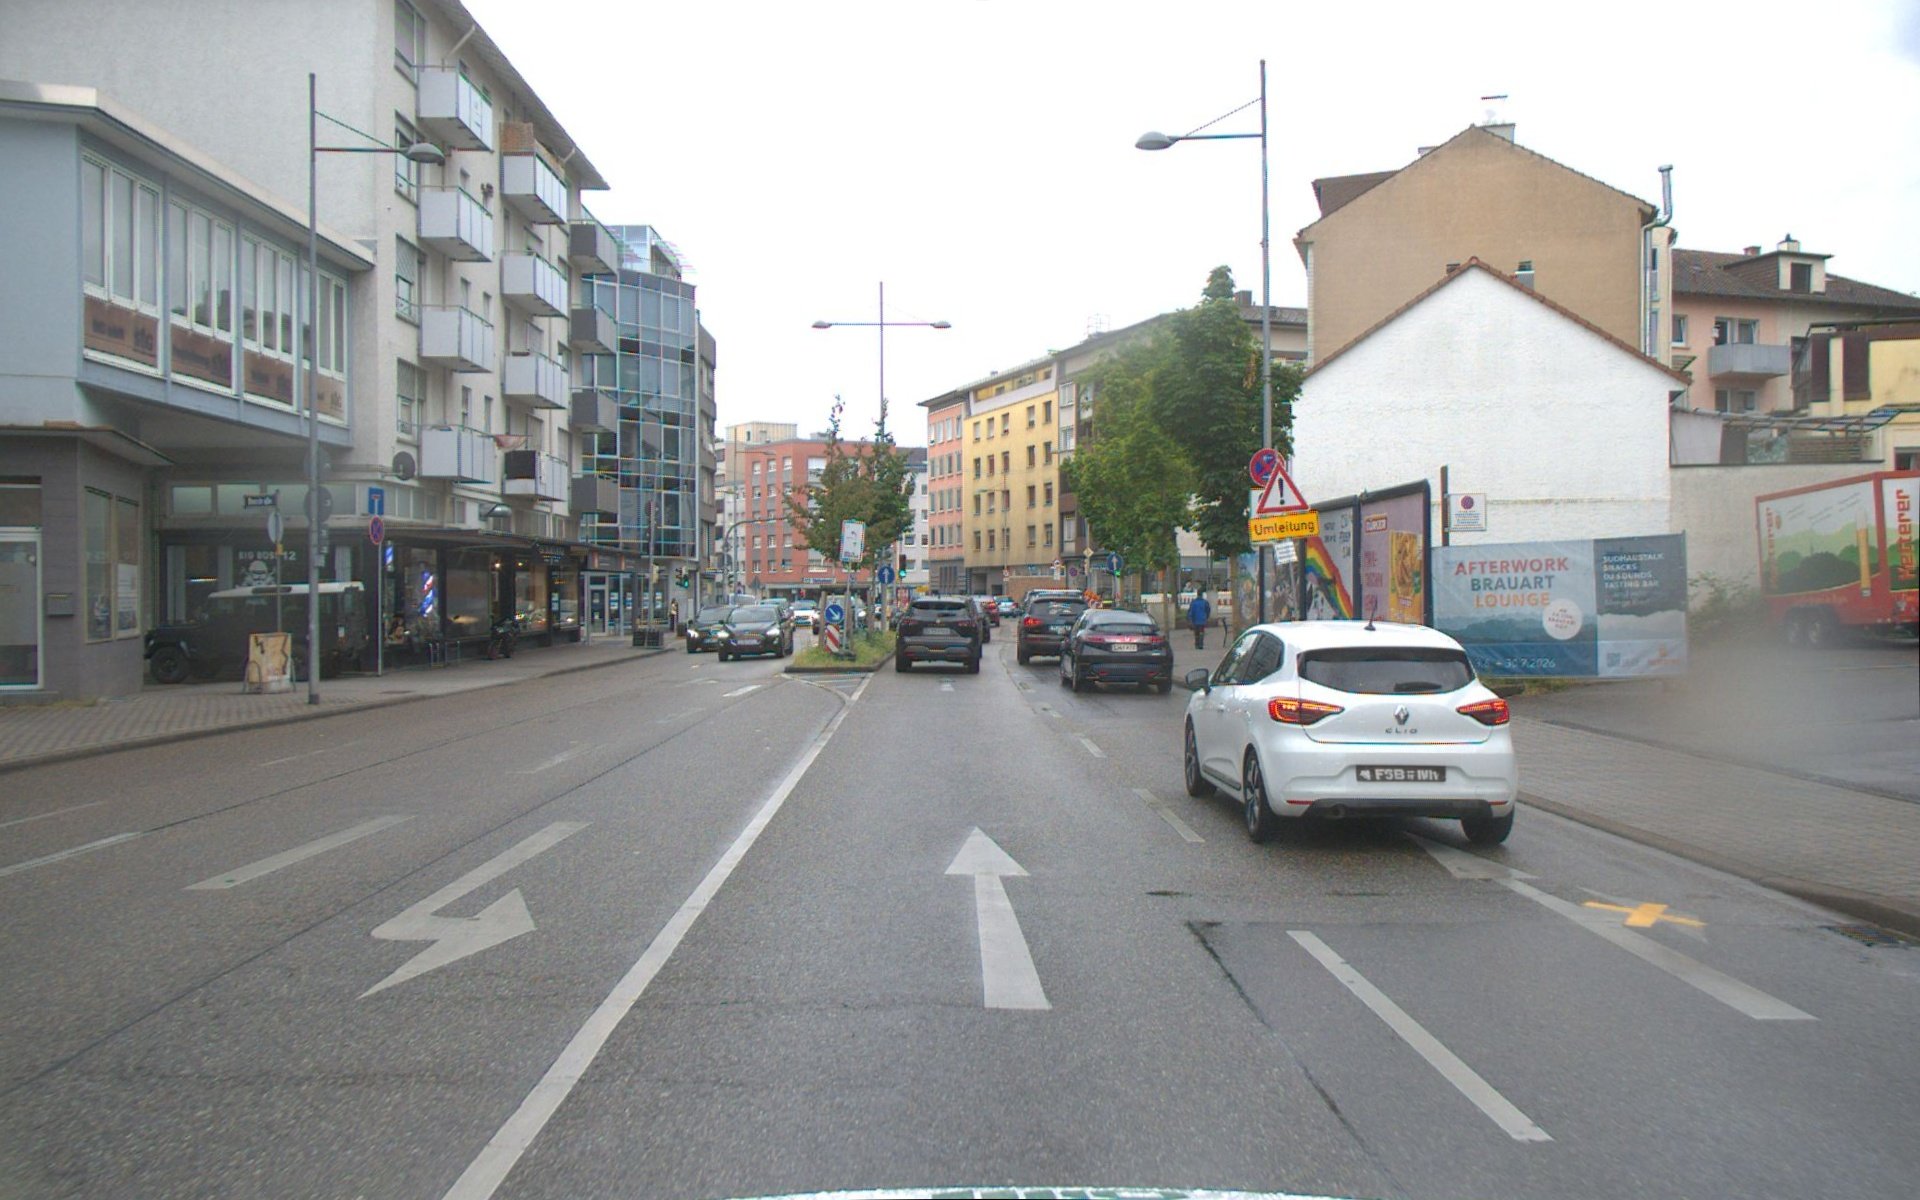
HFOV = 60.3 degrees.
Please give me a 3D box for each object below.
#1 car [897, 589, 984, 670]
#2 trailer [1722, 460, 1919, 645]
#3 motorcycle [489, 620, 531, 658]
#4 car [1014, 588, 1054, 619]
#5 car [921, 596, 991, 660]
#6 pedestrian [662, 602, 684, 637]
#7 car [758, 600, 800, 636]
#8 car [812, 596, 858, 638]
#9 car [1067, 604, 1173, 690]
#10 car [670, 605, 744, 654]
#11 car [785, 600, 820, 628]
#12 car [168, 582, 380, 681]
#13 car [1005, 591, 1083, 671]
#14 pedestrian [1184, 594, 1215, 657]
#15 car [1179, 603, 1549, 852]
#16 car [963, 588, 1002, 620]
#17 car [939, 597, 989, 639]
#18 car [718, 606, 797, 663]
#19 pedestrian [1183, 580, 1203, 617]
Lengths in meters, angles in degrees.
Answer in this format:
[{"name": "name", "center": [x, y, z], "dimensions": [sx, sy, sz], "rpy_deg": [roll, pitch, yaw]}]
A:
[{"name": "car", "center": [-0.404, 0.622, 36.249], "dimensions": [1.786, 1.628, 3.718], "rpy_deg": [2, 0, 0]}, {"name": "trailer", "center": [15.023, -0.770, 27.668], "dimensions": [2.083, 2.763, 5.392], "rpy_deg": [-3, 0, 1]}, {"name": "motorcycle", "center": [-12.407, 1.067, 45.650], "dimensions": [0.515, 1.013, 2.136], "rpy_deg": [2, 0, 1]}, {"name": "car", "center": [4.049, 0.169, 90.928], "dimensions": [1.674, 1.639, 3.724], "rpy_deg": [2, 0, -5]}, {"name": "car", "center": [-0.113, 0.736, 45.033], "dimensions": [1.786, 1.628, 3.718], "rpy_deg": [2, 0, 0]}, {"name": "pedestrian", "center": [-13.659, 0.928, 78.705], "dimensions": [0.775, 1.619, 0.753], "rpy_deg": [-1, 0, -37]}, {"name": "car", "center": [-8.703, 0.851, 79.841], "dimensions": [1.599, 1.619, 3.936], "rpy_deg": [-2, 0, -1]}, {"name": "car", "center": [-5.391, 0.726, 71.990], "dimensions": [1.649, 1.690, 4.096], "rpy_deg": [-2, 0, 0]}, {"name": "car", "center": [2.845, 0.807, 30.036], "dimensions": [1.749, 1.424, 3.720], "rpy_deg": [1, 0, 3]}, {"name": "car", "center": [-8.435, 0.959, 55.436], "dimensions": [1.673, 1.493, 4.828], "rpy_deg": [-3, 0, 0]}, {"name": "car", "center": [-8.631, 0.754, 90.863], "dimensions": [1.599, 1.432, 3.436], "rpy_deg": [-2, 0, -1]}, {"name": "car", "center": [-14.717, 0.668, 35.599], "dimensions": [3.881, 2.070, 1.580], "rpy_deg": [0, 0, 1]}, {"name": "car", "center": [2.047, 0.731, 41.294], "dimensions": [1.792, 1.837, 3.719], "rpy_deg": [2, 1, 1]}, {"name": "pedestrian", "center": [6.893, 0.721, 47.564], "dimensions": [0.774, 1.786, 0.872], "rpy_deg": [-2, 0, 12]}, {"name": "car", "center": [2.726, 0.785, 12.033], "dimensions": [1.631, 1.420, 3.866], "rpy_deg": [2, 1, -2]}, {"name": "car", "center": [1.036, 0.170, 76.301], "dimensions": [1.608, 1.405, 3.347], "rpy_deg": [-2, 0, -2]}, {"name": "car", "center": [0.120, 0.626, 58.517], "dimensions": [1.608, 1.405, 3.347], "rpy_deg": [-2, 0, -2]}, {"name": "car", "center": [-5.598, 0.922, 46.163], "dimensions": [1.685, 1.448, 4.164], "rpy_deg": [-3, 0, -1]}, {"name": "pedestrian", "center": [13.379, -0.099, 94.900], "dimensions": [0.809, 2.049, 0.835], "rpy_deg": [2, 0, -19]}]
